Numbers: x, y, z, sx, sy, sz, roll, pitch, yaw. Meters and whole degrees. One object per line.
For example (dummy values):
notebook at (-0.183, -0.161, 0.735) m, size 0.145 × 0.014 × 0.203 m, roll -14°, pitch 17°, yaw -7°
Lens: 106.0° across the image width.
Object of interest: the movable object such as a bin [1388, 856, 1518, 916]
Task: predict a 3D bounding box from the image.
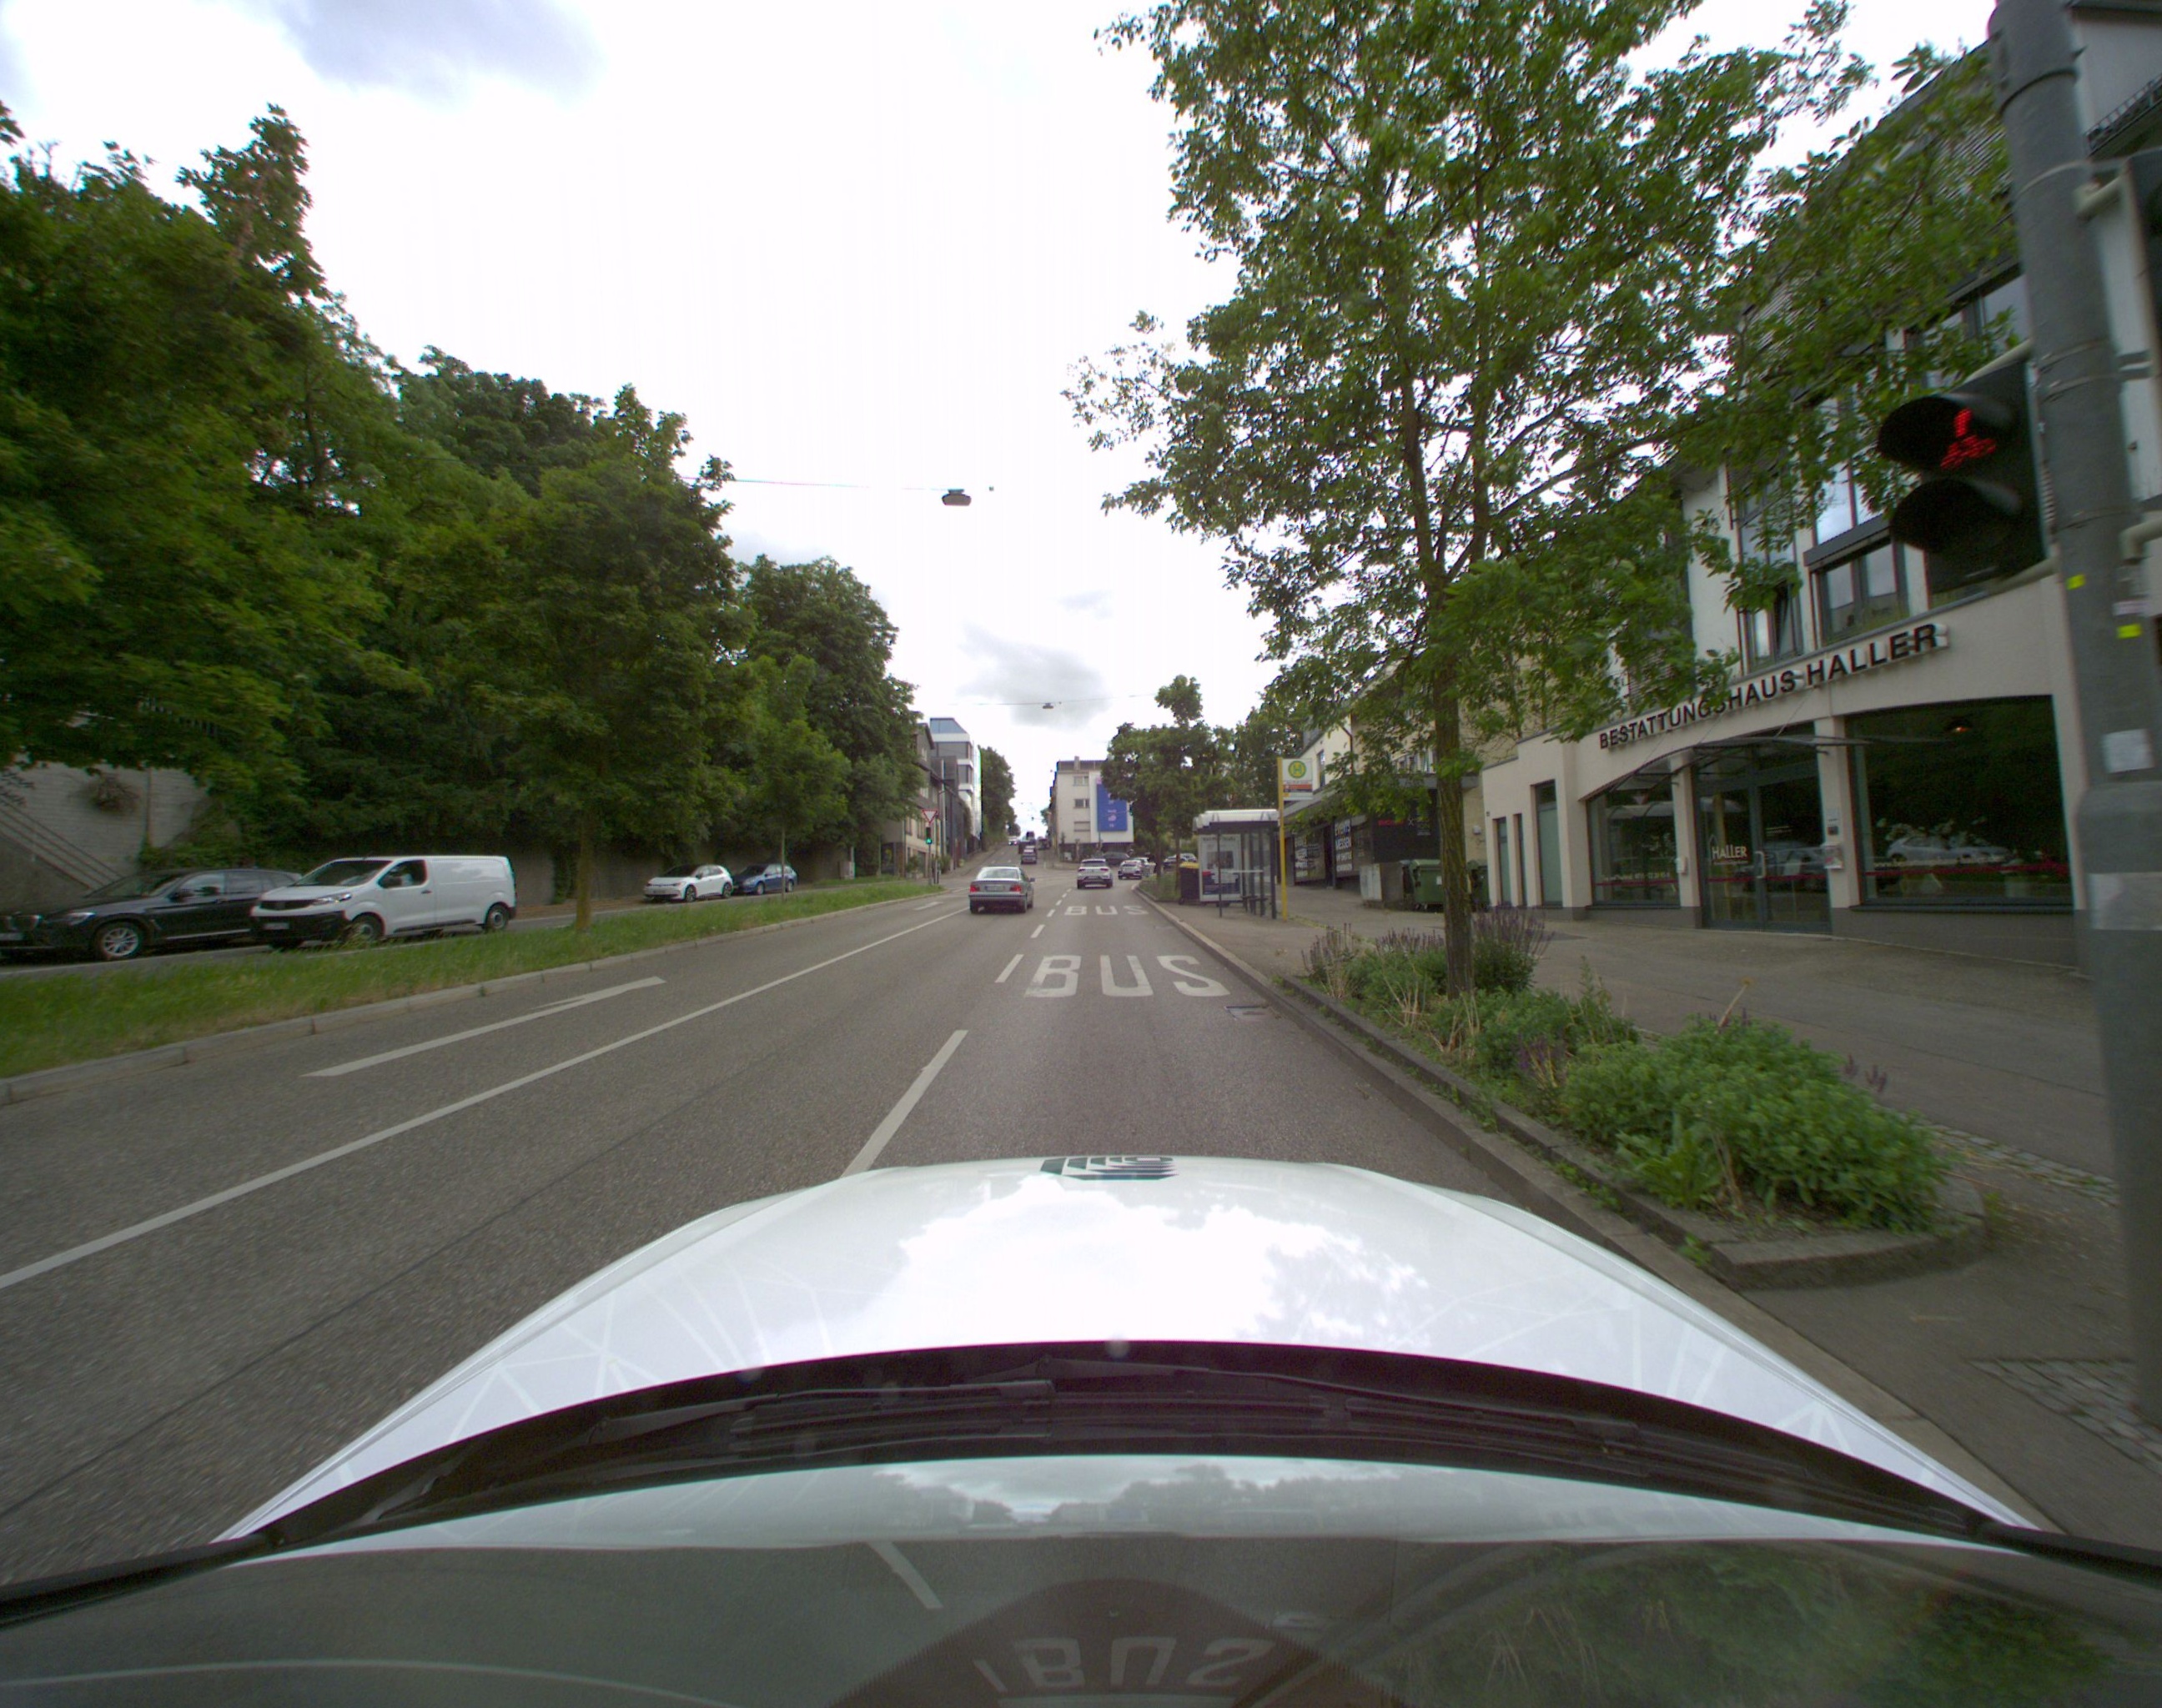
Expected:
movable object such as a bin at (9.993, 0.801, 22.216) m, size 1.881 × 1.452 × 4.003 m, roll -1°, pitch 0°, yaw 3°

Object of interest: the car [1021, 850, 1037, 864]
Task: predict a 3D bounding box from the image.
car at (-5.984, 0.332, 93.767) m, size 1.775 × 1.579 × 3.996 m, roll 0°, pitch 0°, yaw -3°

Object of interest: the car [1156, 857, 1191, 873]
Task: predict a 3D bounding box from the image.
car at (8.309, 0.959, 72.628) m, size 1.777 × 1.409 × 4.024 m, roll 0°, pitch 0°, yaw 27°

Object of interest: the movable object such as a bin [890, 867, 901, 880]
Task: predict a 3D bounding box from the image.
movable object such as a bin at (-14.067, 1.483, 61.692) m, size 0.534 × 1.019 × 0.649 m, roll -1°, pitch -3°, yaw 14°

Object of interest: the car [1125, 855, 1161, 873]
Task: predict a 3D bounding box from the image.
car at (5.579, 0.868, 72.860) m, size 1.763 × 1.579 × 4.023 m, roll -1°, pitch 0°, yaw 26°

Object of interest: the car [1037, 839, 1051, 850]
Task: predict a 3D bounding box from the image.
car at (-5.810, -1.533, 128.503) m, size 2.084 × 1.613 × 3.997 m, roll -1°, pitch 0°, yaw -2°

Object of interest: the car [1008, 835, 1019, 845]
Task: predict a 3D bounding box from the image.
car at (-12.559, -2.642, 151.047) m, size 1.878 × 1.567 × 4.385 m, roll -1°, pitch 3°, yaw -3°

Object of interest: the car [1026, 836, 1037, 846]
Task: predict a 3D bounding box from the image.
car at (-8.957, -2.359, 147.149) m, size 1.775 × 1.579 × 3.996 m, roll -1°, pitch -1°, yaw -3°

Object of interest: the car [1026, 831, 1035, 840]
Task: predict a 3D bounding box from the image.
car at (-11.392, -4.150, 182.883) m, size 1.989 × 2.013 × 3.996 m, roll 0°, pitch 0°, yaw -3°

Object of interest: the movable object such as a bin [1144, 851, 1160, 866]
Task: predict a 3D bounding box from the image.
movable object such as a bin at (8.662, 0.490, 98.885) m, size 1.751 × 1.779 × 1.860 m, roll -1°, pitch 0°, yaw 10°

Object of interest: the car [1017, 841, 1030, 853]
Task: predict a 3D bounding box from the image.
car at (-8.333, -1.021, 117.705) m, size 1.776 × 1.579 × 3.996 m, roll -2°, pitch 0°, yaw -3°

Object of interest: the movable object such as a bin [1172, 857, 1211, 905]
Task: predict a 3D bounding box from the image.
movable object such as a bin at (3.549, 0.848, 26.292) m, size 1.081 × 1.481 × 1.537 m, roll -1°, pitch 0°, yaw 2°

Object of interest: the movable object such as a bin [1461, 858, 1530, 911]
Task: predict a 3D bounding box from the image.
movable object such as a bin at (11.328, 0.813, 22.313) m, size 1.335 × 1.409 × 1.128 m, roll -1°, pitch 0°, yaw 3°

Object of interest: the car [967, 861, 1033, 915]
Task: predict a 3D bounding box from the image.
car at (-2.394, 0.968, 24.937) m, size 1.701 × 1.464 × 3.998 m, roll 0°, pitch 0°, yaw -1°

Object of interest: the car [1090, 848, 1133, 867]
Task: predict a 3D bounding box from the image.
car at (3.468, 0.378, 93.848) m, size 4.677 × 1.712 × 2.317 m, roll 3°, pitch 3°, yaw -3°

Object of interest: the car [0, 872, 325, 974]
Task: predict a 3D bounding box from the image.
car at (-18.191, 1.215, 16.113) m, size 1.960 × 1.657 × 4.538 m, roll 0°, pitch 0°, yaw 5°

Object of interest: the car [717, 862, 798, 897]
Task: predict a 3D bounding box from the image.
car at (-15.747, 1.204, 39.889) m, size 1.702 × 1.528 × 4.312 m, roll 0°, pitch 0°, yaw 9°

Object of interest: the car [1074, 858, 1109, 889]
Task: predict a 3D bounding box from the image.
car at (0.571, 1.008, 43.922) m, size 1.774 × 1.579 × 4.000 m, roll -1°, pitch 0°, yaw 0°

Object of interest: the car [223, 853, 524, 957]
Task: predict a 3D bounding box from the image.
car at (-15.202, 0.973, 18.013) m, size 1.929 × 1.958 × 5.030 m, roll 0°, pitch 0°, yaw 6°

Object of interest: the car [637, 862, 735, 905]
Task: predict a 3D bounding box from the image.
car at (-16.551, 1.180, 34.363) m, size 1.771 × 1.629 × 4.177 m, roll 0°, pitch 0°, yaw 6°

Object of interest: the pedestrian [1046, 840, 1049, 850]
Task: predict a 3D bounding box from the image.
pedestrian at (-5.210, -1.337, 127.249) m, size 0.456 × 1.529 × 0.527 m, roll -1°, pitch -1°, yaw -2°

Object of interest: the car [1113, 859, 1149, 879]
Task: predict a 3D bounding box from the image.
car at (3.816, 1.122, 61.131) m, size 1.766 × 1.409 × 4.018 m, roll 0°, pitch 0°, yaw 17°
